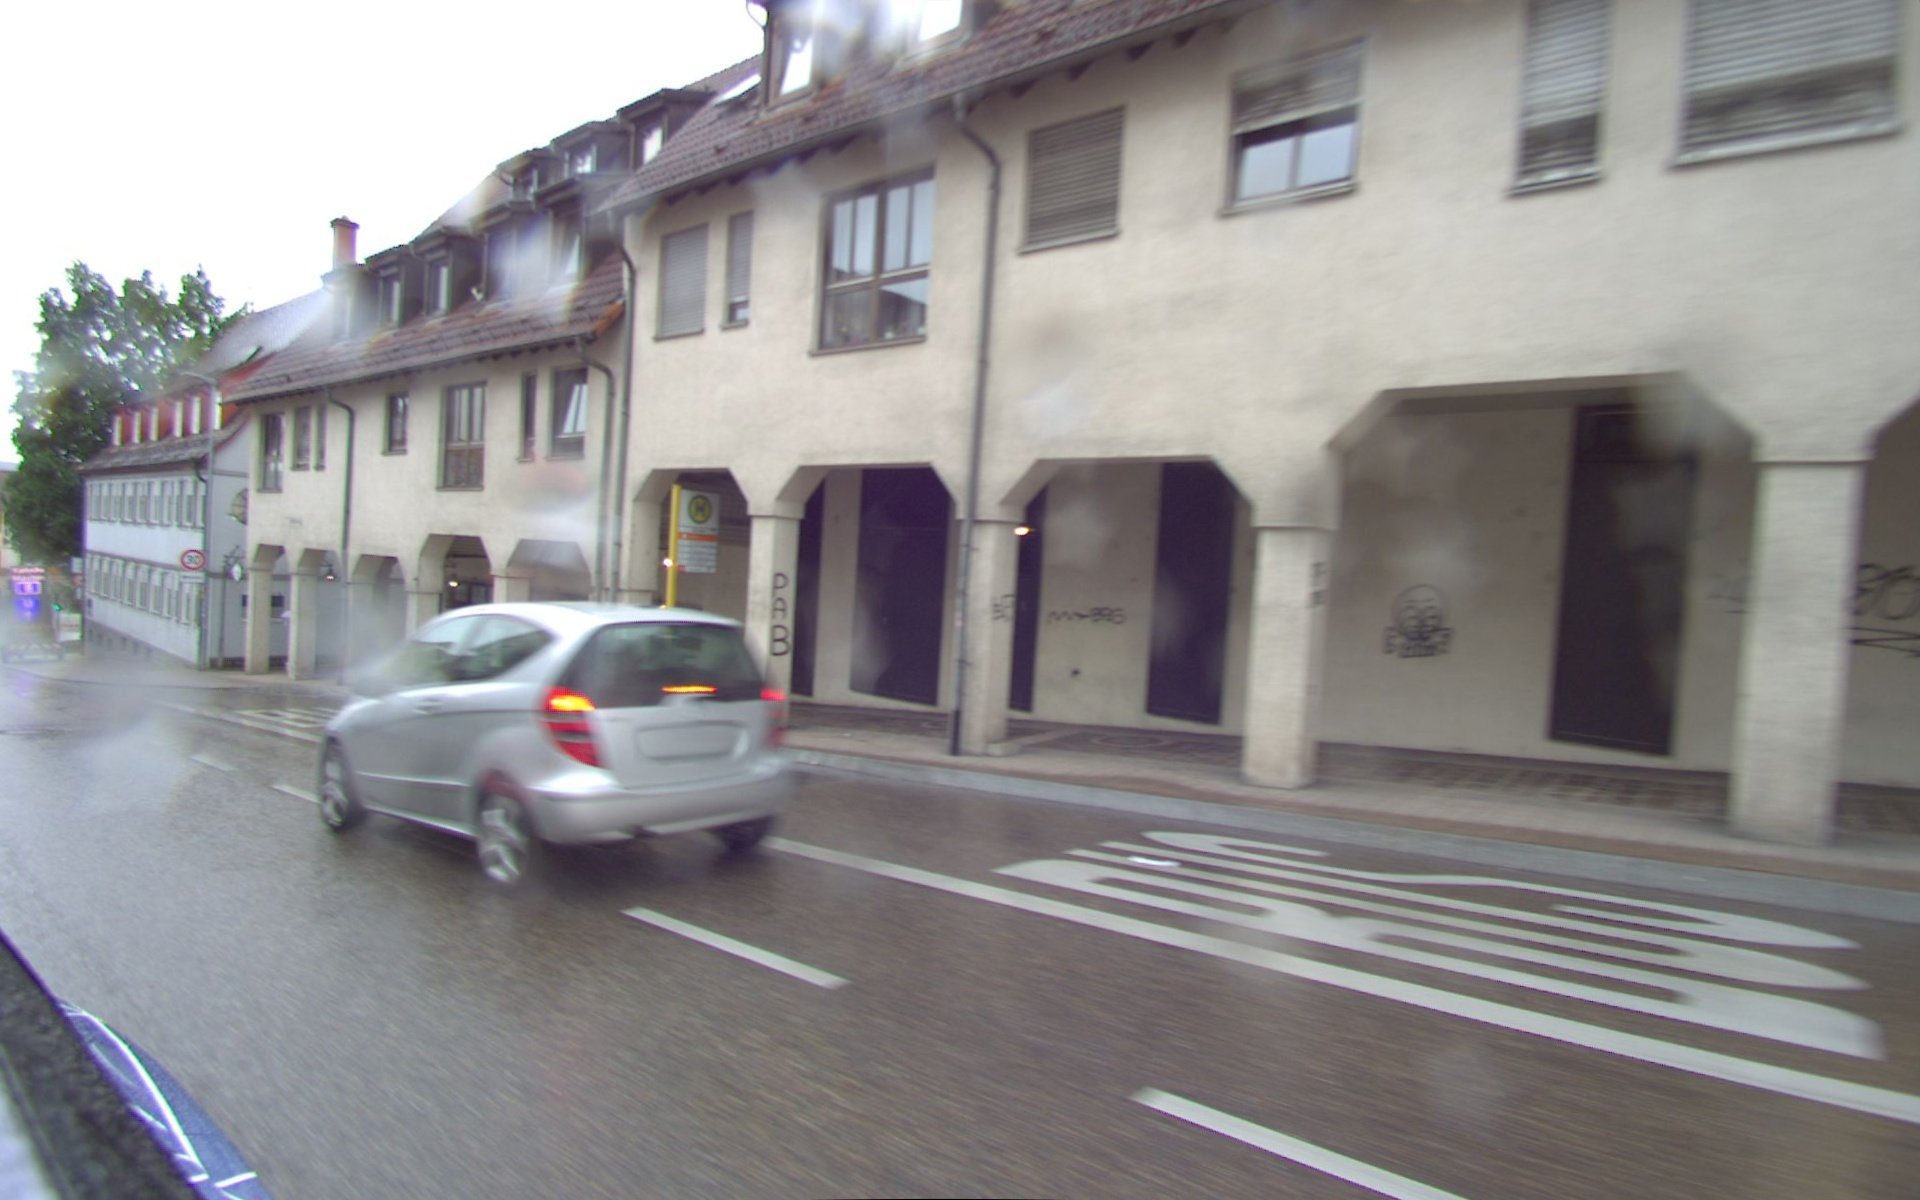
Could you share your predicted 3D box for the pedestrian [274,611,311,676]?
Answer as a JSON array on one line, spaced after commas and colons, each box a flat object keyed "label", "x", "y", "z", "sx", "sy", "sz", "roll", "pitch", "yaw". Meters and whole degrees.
[{"label": "pedestrian", "x": -18.373, "y": 1.192, "z": 27.857, "sx": 0.735, "sy": 1.753, "sz": 0.680, "roll": -1, "pitch": 0, "yaw": 44}]

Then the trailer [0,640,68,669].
[{"label": "trailer", "x": -35.118, "y": 2.034, "z": 38.026, "sx": 4.477, "sy": 0.912, "sz": 1.972, "roll": -1, "pitch": -1, "yaw": 43}]

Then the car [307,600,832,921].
[{"label": "car", "x": -2.675, "y": 0.805, "z": 6.611, "sx": 3.585, "sy": 1.521, "sz": 1.660, "roll": -1, "pitch": -2, "yaw": 40}]
